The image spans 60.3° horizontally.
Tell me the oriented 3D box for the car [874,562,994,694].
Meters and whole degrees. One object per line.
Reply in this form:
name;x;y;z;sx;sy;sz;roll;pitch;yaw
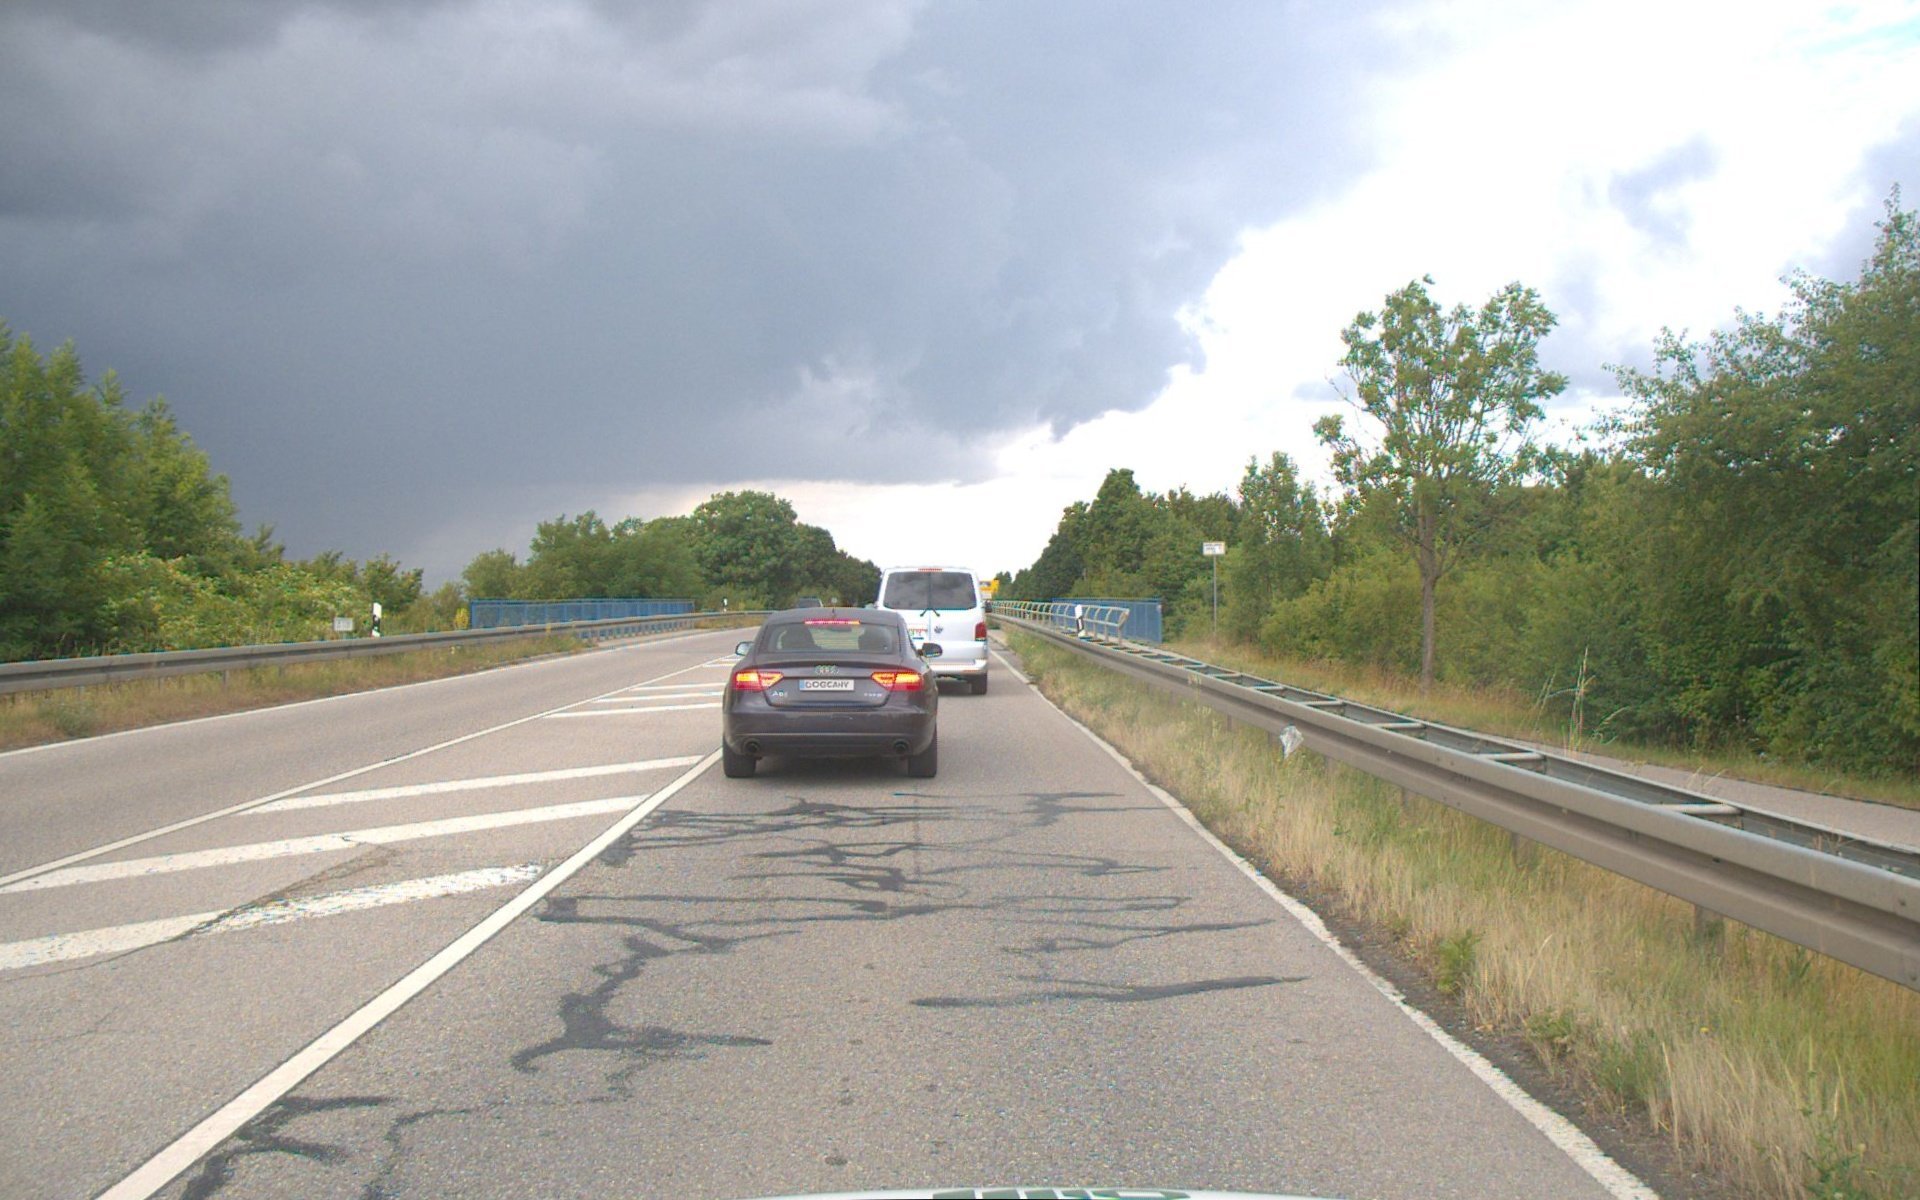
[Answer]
car;-0.427;0.431;26.949;1.791;1.969;3.999;-1;0;-1

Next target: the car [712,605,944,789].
car;-1.059;0.758;14.869;1.784;1.405;4.071;-1;0;-1

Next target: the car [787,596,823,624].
car;-8.682;0.550;92.735;1.763;1.475;4.444;-1;0;-2
